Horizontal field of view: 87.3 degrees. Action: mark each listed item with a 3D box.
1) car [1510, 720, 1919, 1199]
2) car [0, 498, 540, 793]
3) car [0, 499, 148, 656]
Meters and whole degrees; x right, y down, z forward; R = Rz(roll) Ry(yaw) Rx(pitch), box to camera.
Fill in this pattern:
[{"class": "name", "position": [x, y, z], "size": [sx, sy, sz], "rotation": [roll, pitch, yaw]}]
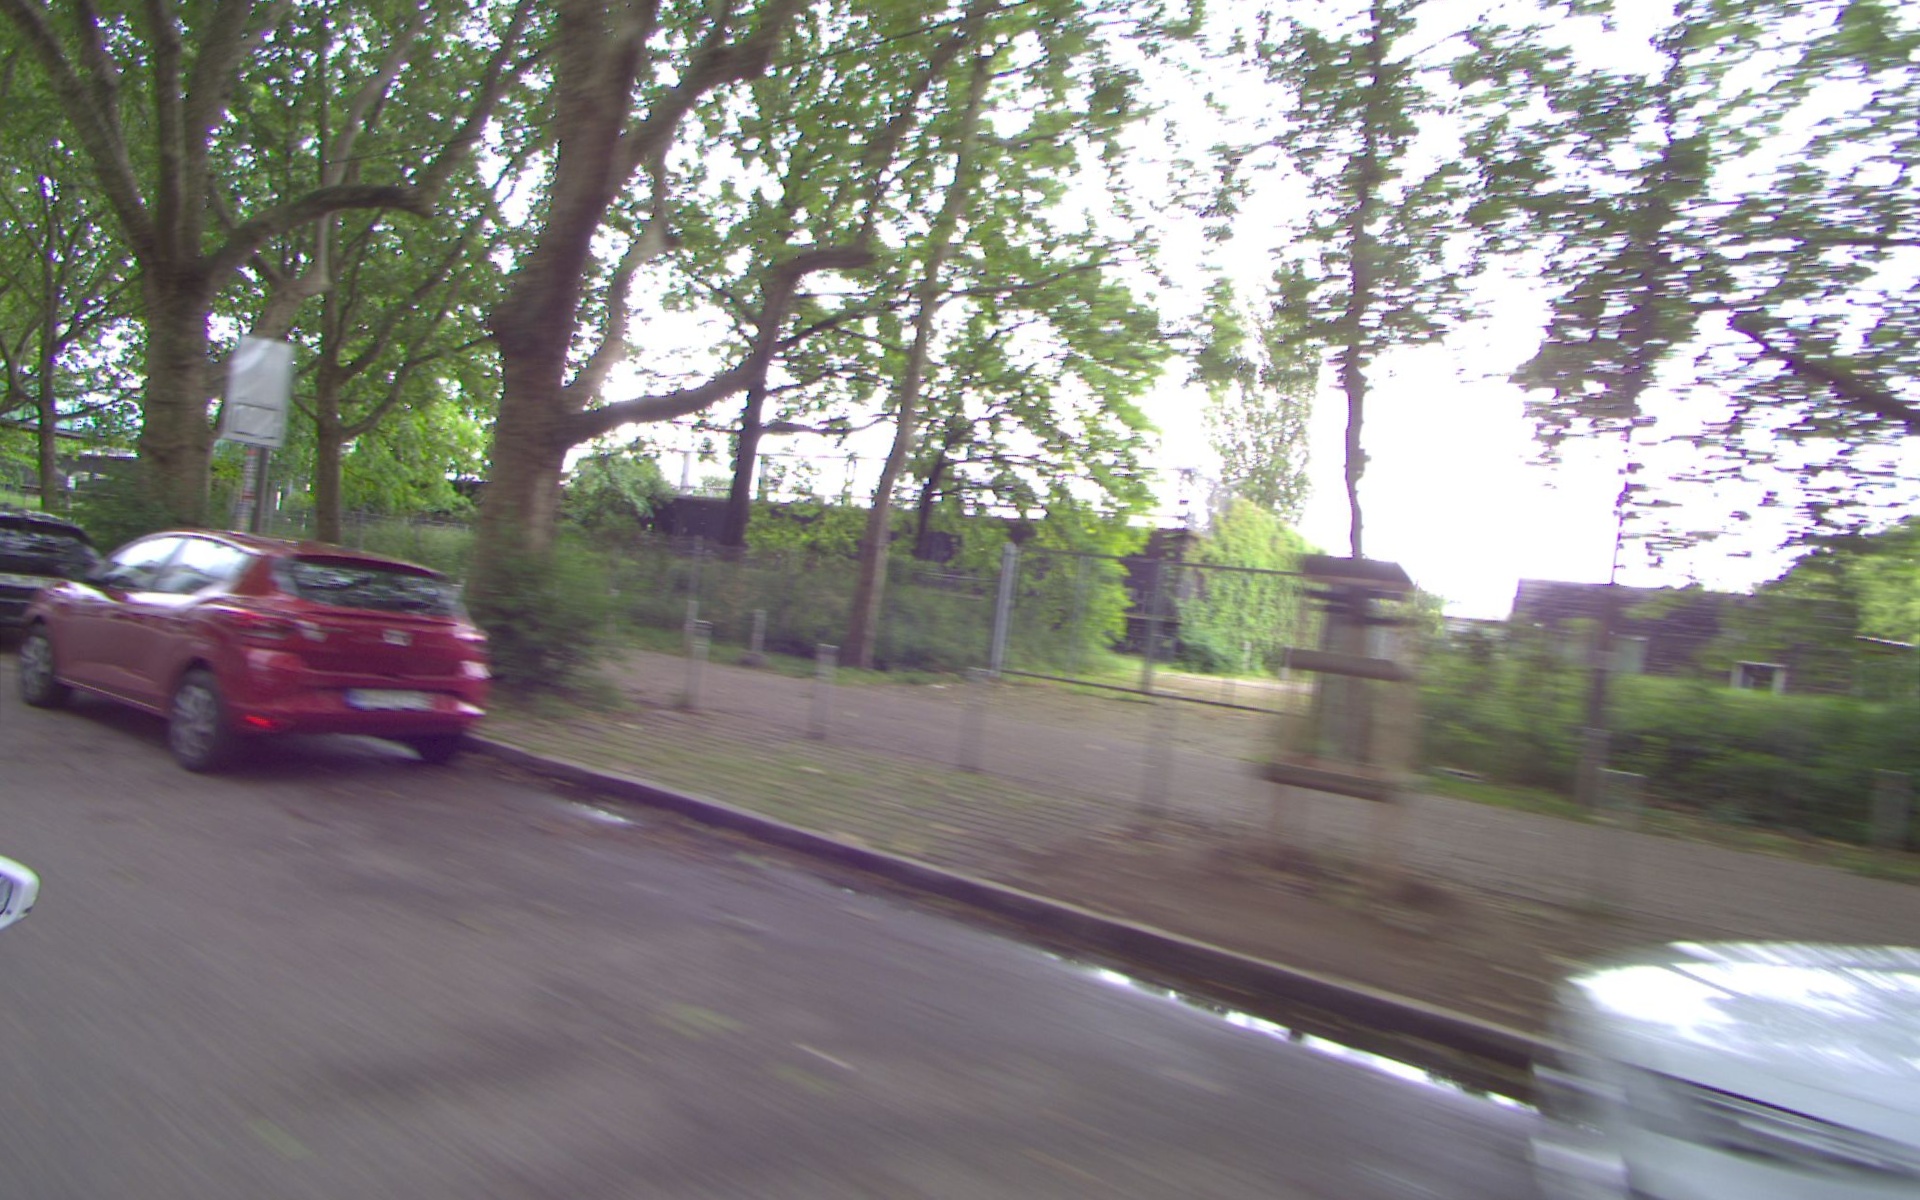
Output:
[{"class": "car", "position": [3.732, 1.347, 1.985], "size": [4.508, 1.445, 1.880], "rotation": [7, -1, 30]}, {"class": "car", "position": [-5.381, 0.232, 7.631], "size": [4.107, 1.499, 1.860], "rotation": [7, -1, 31]}, {"class": "car", "position": [-10.991, -0.424, 10.971], "size": [4.405, 1.445, 1.880], "rotation": [7, -1, 32]}]
